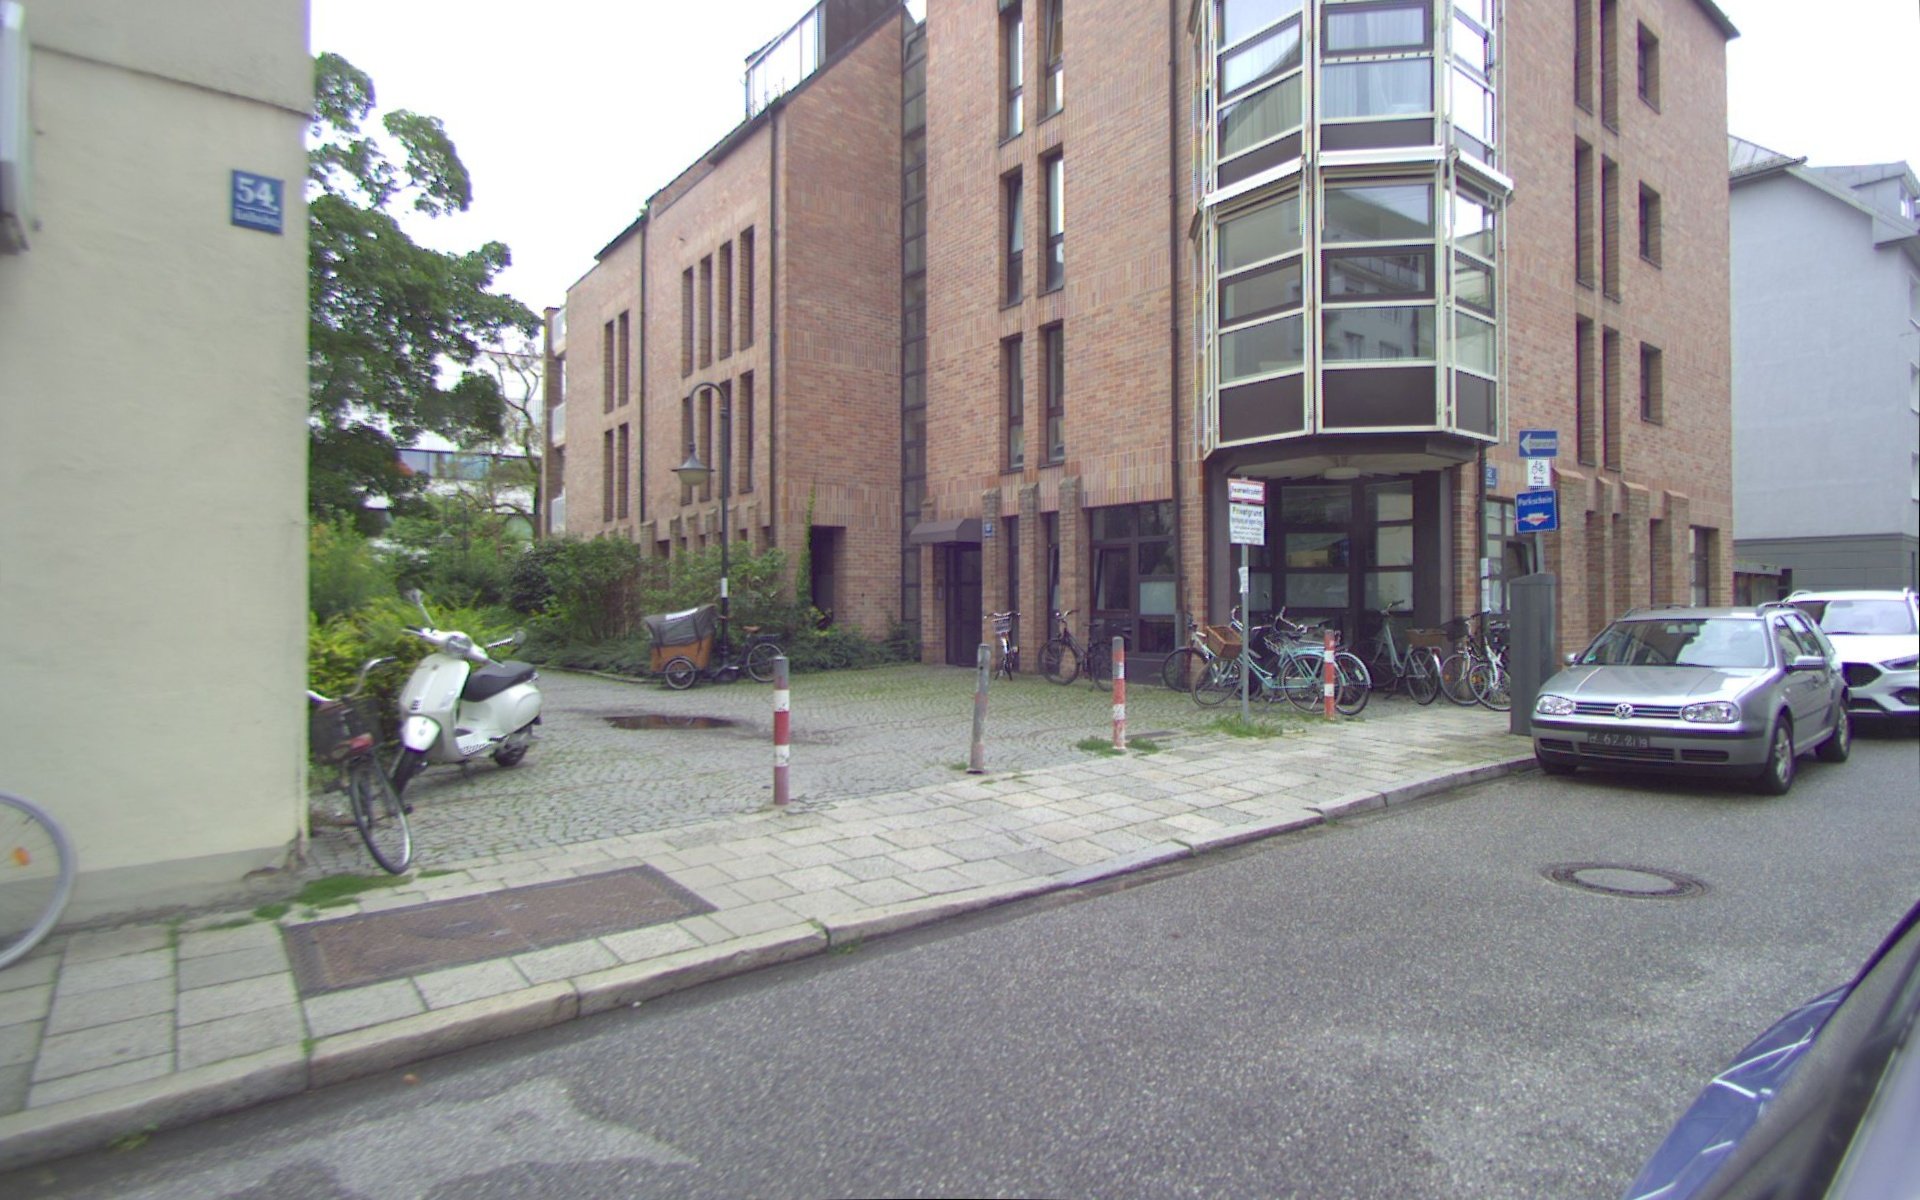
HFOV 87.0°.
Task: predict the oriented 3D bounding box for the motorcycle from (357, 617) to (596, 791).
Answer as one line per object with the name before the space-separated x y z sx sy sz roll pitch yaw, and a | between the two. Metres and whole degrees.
motorcycle | -3.620 0.717 7.783 0.612 1.136 1.866 1 0 13

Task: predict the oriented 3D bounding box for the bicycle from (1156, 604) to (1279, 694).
bicycle | 3.358 0.610 13.340 0.434 1.086 1.755 0 0 -32

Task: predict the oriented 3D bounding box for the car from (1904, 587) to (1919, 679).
car | 18.540 0.545 18.345 3.980 1.600 1.618 0 -1 -41

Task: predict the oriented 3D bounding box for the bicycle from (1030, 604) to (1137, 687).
bicycle | 1.728 0.608 14.478 0.434 1.086 1.888 0 0 -32

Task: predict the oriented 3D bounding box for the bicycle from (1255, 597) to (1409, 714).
bicycle | 4.291 0.601 11.801 0.434 1.201 1.756 0 2 -32

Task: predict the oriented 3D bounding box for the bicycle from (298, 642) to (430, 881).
bicycle | -3.359 0.806 5.639 0.403 1.039 1.705 -1 2 -38

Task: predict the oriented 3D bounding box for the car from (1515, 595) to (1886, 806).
car | 6.761 0.704 9.061 4.282 1.453 1.723 0 -1 -41

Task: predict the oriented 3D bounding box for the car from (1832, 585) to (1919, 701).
car | 14.481 0.580 15.126 3.741 1.578 1.618 0 -1 -41

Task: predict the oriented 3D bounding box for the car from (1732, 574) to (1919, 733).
car | 11.102 0.556 12.387 4.376 1.636 1.723 0 -1 -41

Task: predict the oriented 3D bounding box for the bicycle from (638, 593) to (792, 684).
bicycle | -3.805 0.585 15.862 2.219 1.285 0.810 -2 0 -5

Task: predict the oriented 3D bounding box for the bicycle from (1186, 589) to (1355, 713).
bicycle | 3.550 0.549 11.612 1.787 1.339 0.582 0 1 27

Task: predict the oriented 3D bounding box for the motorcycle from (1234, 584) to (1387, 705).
motorcycle | 4.397 0.512 12.796 0.543 1.402 1.762 0 1 -43

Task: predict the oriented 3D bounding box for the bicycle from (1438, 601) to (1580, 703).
bicycle | 7.206 0.647 13.291 1.743 1.232 0.744 -1 1 -24

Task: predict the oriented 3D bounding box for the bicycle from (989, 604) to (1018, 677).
bicycle | 0.708 0.622 16.121 0.435 1.086 1.425 0 0 4

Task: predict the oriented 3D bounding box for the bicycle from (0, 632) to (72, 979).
bicycle | -4.185 0.778 3.379 1.786 1.229 0.411 -2 3 -39

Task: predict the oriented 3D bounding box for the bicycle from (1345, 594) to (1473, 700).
bicycle | 5.809 0.561 13.222 0.581 1.245 1.880 -1 1 -9
